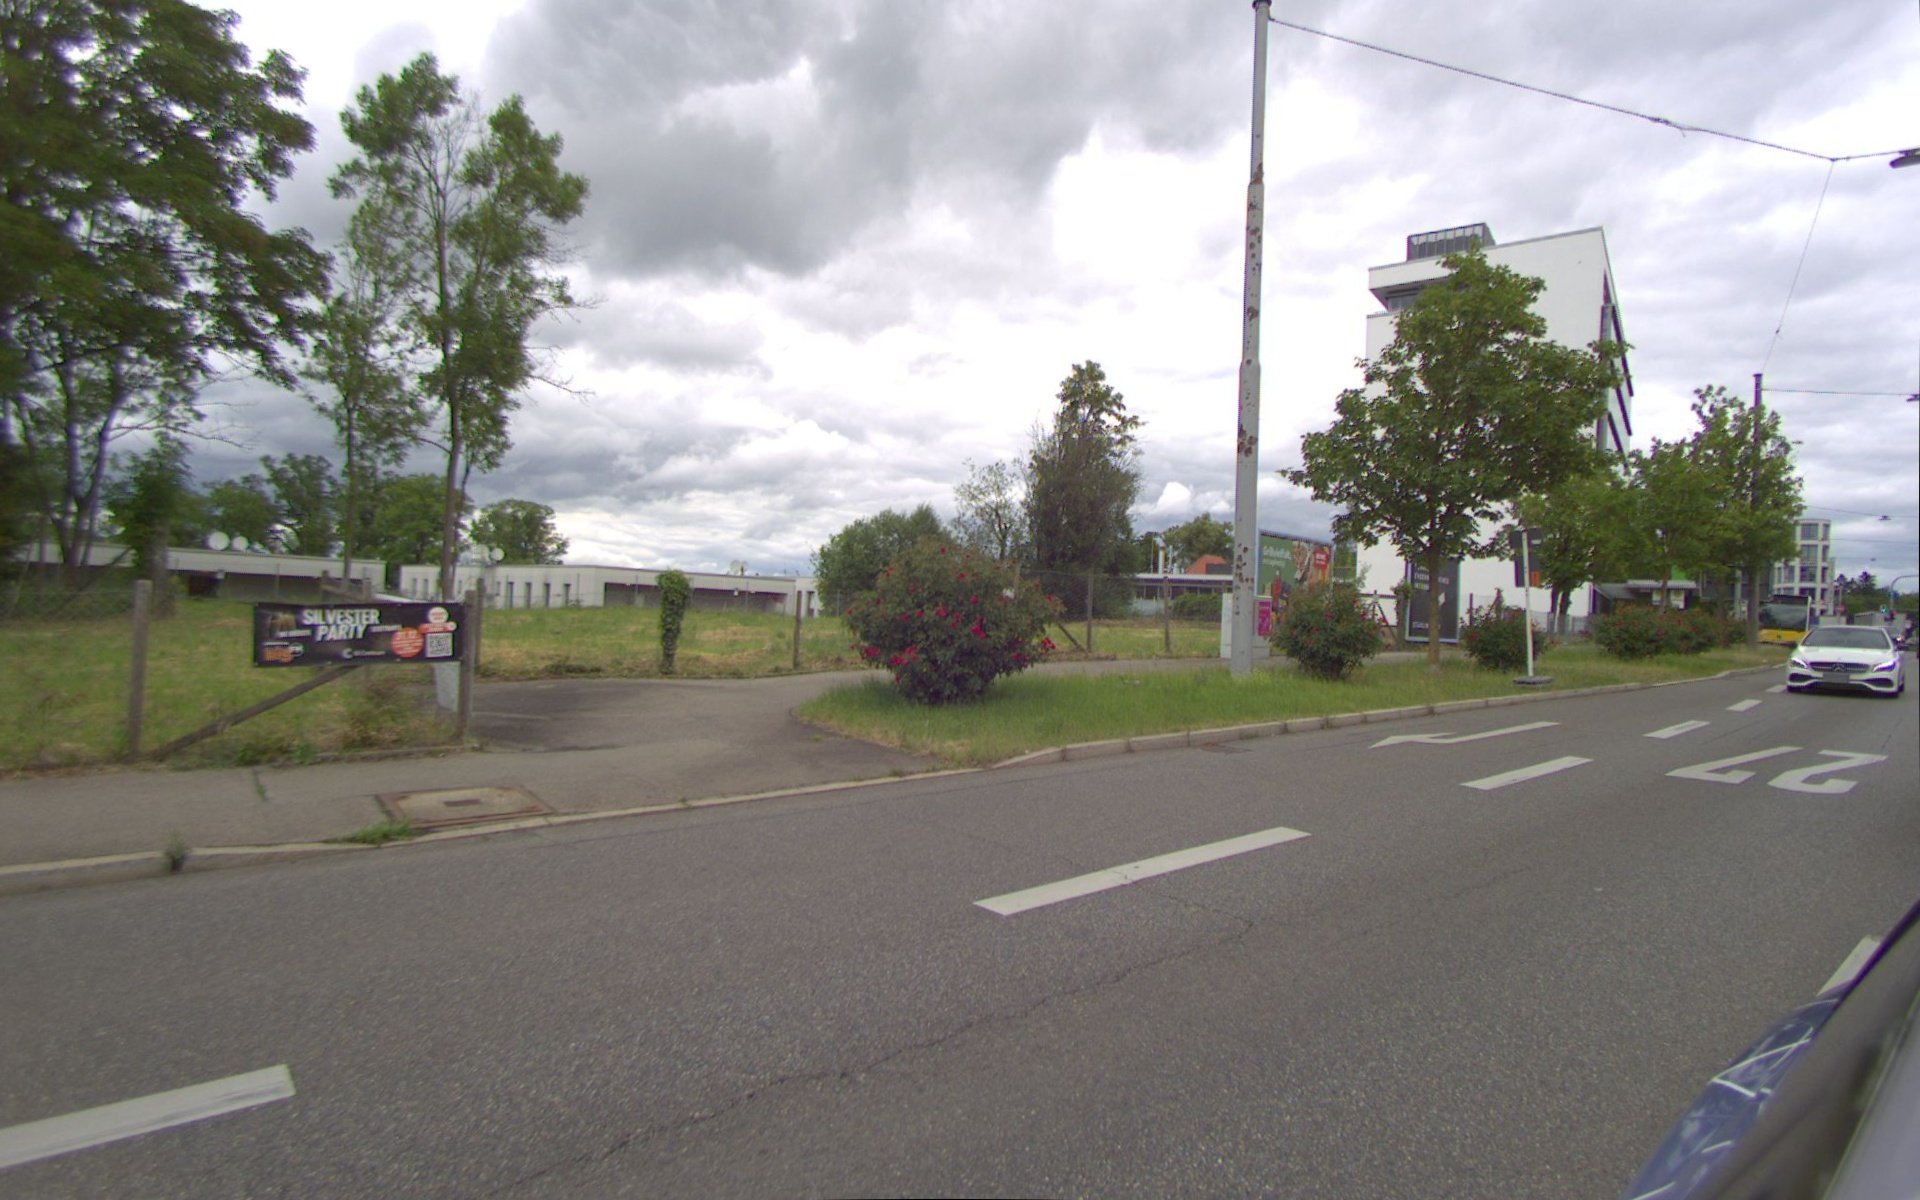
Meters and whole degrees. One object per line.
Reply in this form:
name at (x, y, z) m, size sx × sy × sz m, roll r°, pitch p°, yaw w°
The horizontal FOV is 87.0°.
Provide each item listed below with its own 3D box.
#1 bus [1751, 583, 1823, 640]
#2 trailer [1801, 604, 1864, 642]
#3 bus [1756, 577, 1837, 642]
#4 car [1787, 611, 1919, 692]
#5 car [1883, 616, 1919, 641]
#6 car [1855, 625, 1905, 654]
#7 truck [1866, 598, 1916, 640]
bus at (52.269, 0.743, 64.185) m, size 3.029 × 3.276 × 9.211 m, roll 2°, pitch 0°, yaw 37°
trailer at (107.864, 2.915, 125.340) m, size 3.087 × 4.324 × 14.683 m, roll 2°, pitch -1°, yaw 30°
bus at (46.663, 0.550, 56.680) m, size 2.976 × 3.282 × 9.731 m, roll 2°, pitch 0°, yaw 37°
car at (19.269, 1.042, 21.946) m, size 1.863 × 1.524 × 4.708 m, roll 1°, pitch -1°, yaw 37°
car at (64.123, 1.941, 68.632) m, size 4.292 × 1.573 × 1.734 m, roll 2°, pitch -1°, yaw -41°
car at (50.712, 2.139, 55.846) m, size 1.727 × 1.501 × 4.307 m, roll 1°, pitch -1°, yaw 38°
truck at (96.073, 2.024, 104.524) m, size 2.935 × 4.007 × 9.033 m, roll 4°, pitch 1°, yaw 39°
